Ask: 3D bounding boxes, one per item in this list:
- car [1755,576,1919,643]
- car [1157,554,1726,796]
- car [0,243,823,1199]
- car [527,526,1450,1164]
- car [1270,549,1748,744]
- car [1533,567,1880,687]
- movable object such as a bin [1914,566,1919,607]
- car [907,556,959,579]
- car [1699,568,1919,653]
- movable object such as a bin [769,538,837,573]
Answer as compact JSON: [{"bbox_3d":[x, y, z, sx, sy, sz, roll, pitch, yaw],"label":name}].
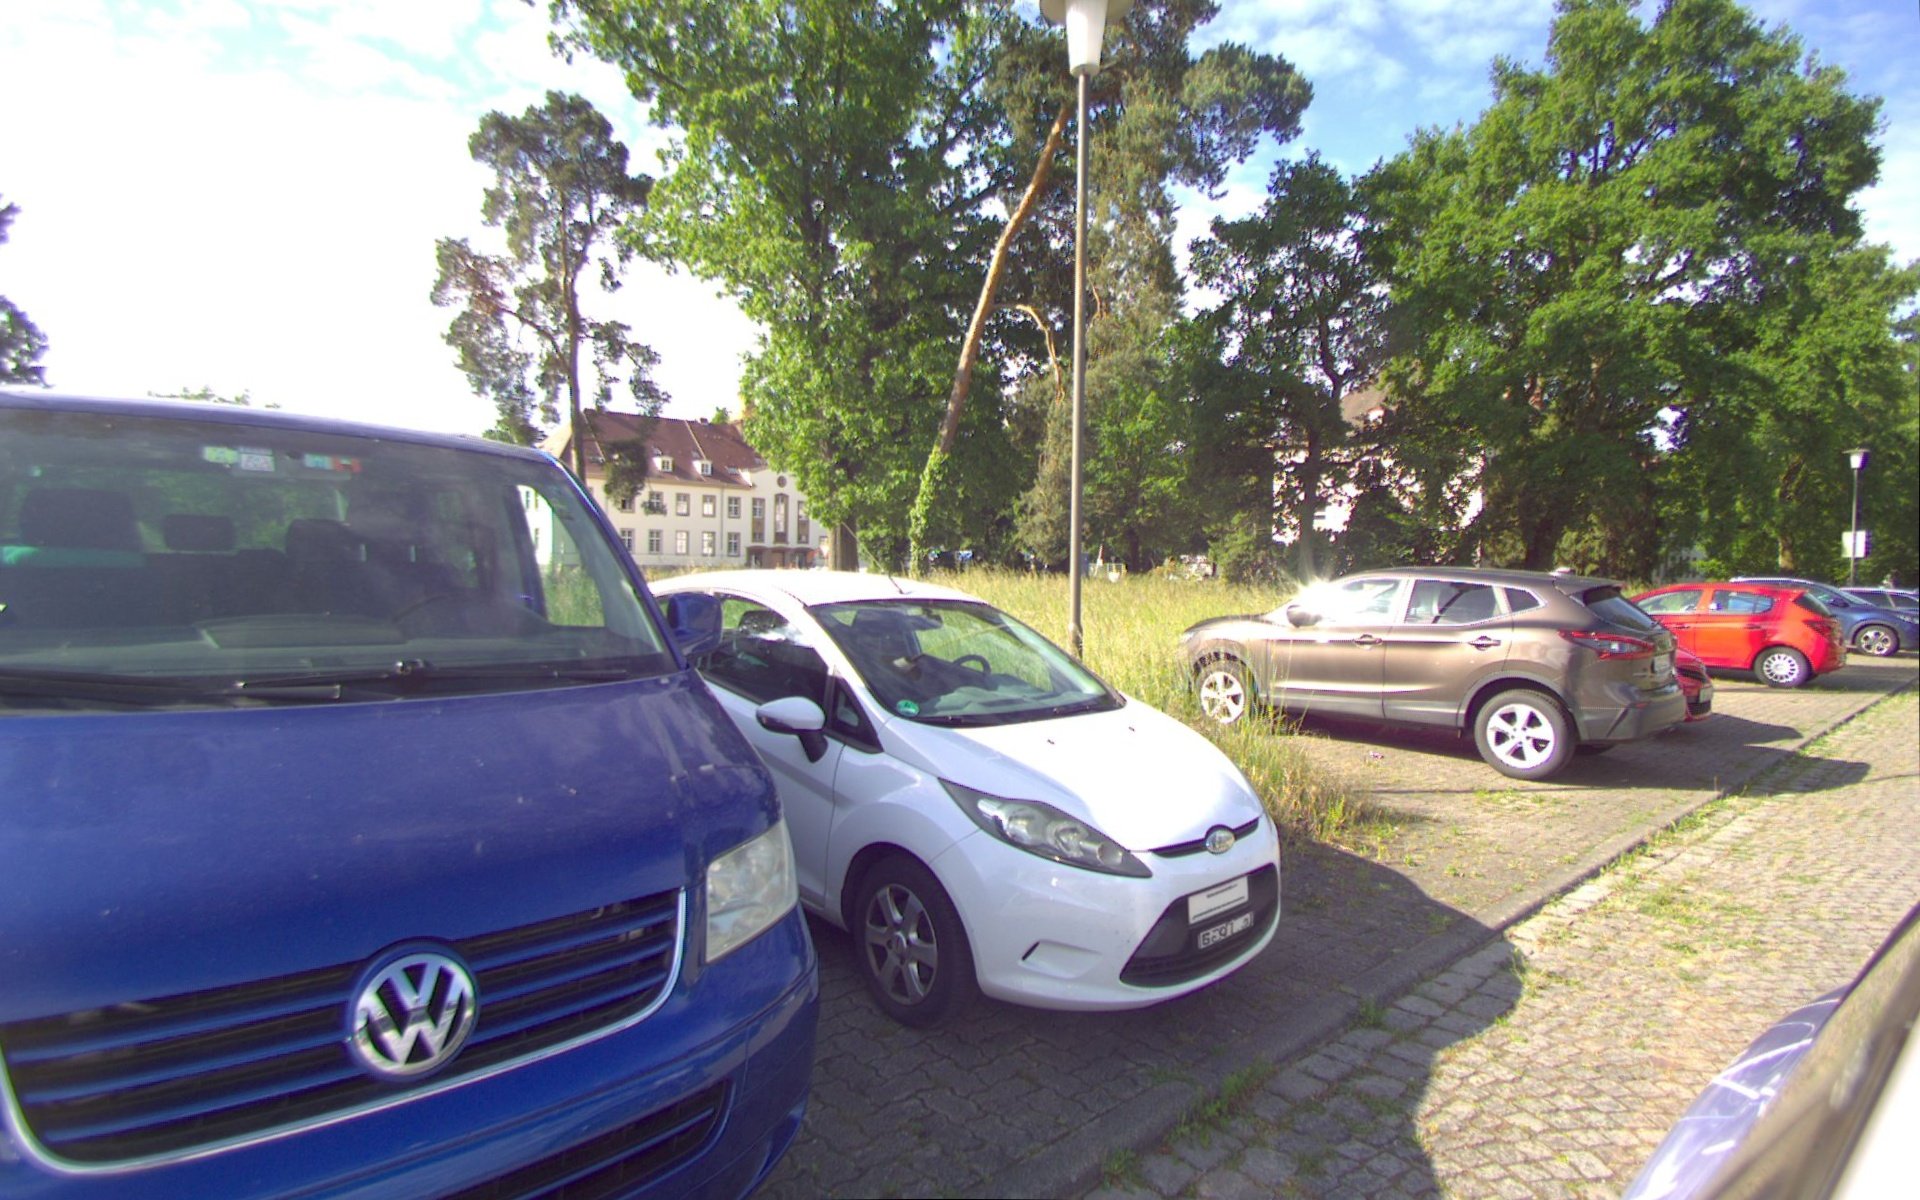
[{"bbox_3d":[22.825,0.224,25.507,1.754,1.440,4.094,0,4,-42],"label":"car"},{"bbox_3d":[4.095,0.423,9.143,1.903,1.617,4.230,-2,4,-43],"label":"car"},{"bbox_3d":[-2.636,0.299,3.638,1.965,1.958,4.708,-1,4,-41],"label":"car"},{"bbox_3d":[-0.345,0.489,4.831,1.906,1.596,4.407,-1,4,-41],"label":"car"},{"bbox_3d":[5.848,0.318,11.182,1.903,1.617,4.231,-2,5,-43],"label":"car"},{"bbox_3d":[11.659,0.316,16.021,1.821,1.477,4.094,0,4,-42],"label":"car"},{"bbox_3d":[49.425,-0.607,48.603,1.959,2.039,4.881,0,1,-28],"label":"movable object such as a bin"},{"bbox_3d":[-2.332,-2.818,88.462,4.318,1.963,1.905,-2,1,-40],"label":"car"},{"bbox_3d":[19.190,0.177,22.538,1.821,1.576,4.094,0,4,-42],"label":"car"},{"bbox_3d":[-16.168,-4.567,104.341,6.336,3.342,2.863,-1,0,6],"label":"movable object such as a bin"}]
